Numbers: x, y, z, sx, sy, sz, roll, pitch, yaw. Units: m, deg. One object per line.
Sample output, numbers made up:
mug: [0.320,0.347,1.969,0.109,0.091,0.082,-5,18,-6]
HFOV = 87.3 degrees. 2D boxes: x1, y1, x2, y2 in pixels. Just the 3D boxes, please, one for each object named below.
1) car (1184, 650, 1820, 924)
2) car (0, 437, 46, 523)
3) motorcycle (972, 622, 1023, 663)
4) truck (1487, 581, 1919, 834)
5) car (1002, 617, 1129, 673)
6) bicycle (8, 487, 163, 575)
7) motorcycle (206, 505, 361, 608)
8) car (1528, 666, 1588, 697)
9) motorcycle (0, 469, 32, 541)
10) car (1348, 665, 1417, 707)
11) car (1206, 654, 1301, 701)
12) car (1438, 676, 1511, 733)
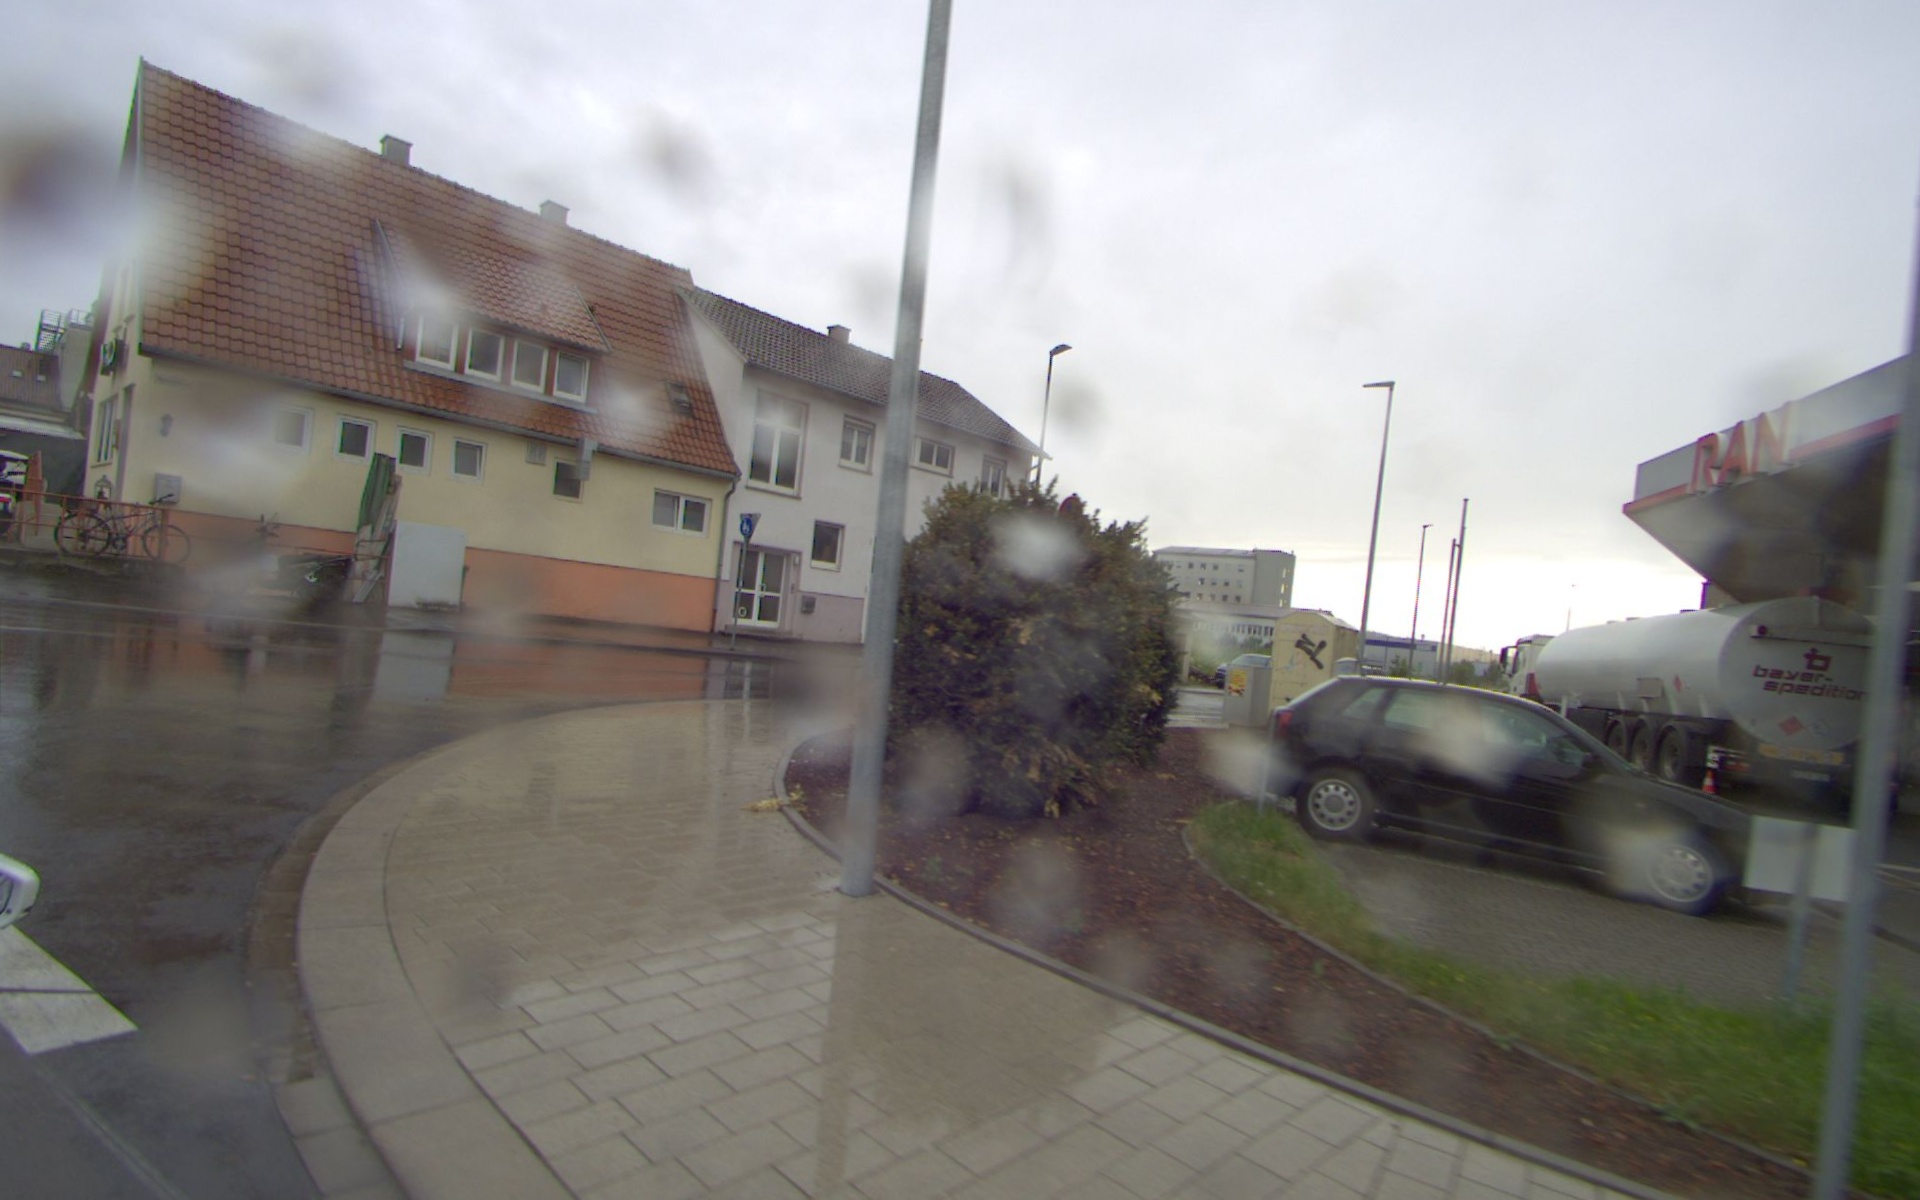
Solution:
car: [4.279,1.397,8.627,4.260,1.356,1.694,7,0,22]
car: [-20.561,-2.559,19.210,1.829,1.631,4.219,7,1,30]
motorcycle: [1.250,1.399,32.904,0.482,1.164,2.033,7,-1,37]
truck: [15.026,1.965,22.205,2.598,3.399,14.423,10,0,16]
car: [3.515,1.502,33.019,1.972,1.394,4.239,8,1,41]
bicycle: [-13.983,-1.085,16.121,1.766,1.109,0.483,8,1,-45]
motorcycle: [-11.498,-0.720,17.161,0.483,1.474,2.029,7,0,44]
car: [59.603,8.145,100.375,4.715,2.311,1.993,7,-1,39]
motorcycle: [-16.378,-1.667,17.048,1.969,1.109,0.488,9,1,36]
car: [22.015,4.484,52.363,1.973,1.804,3.981,7,-1,42]
car: [12.638,3.332,43.160,4.171,1.527,1.974,7,2,-44]
car: [22.007,4.439,42.960,1.969,2.038,3.987,7,0,36]
